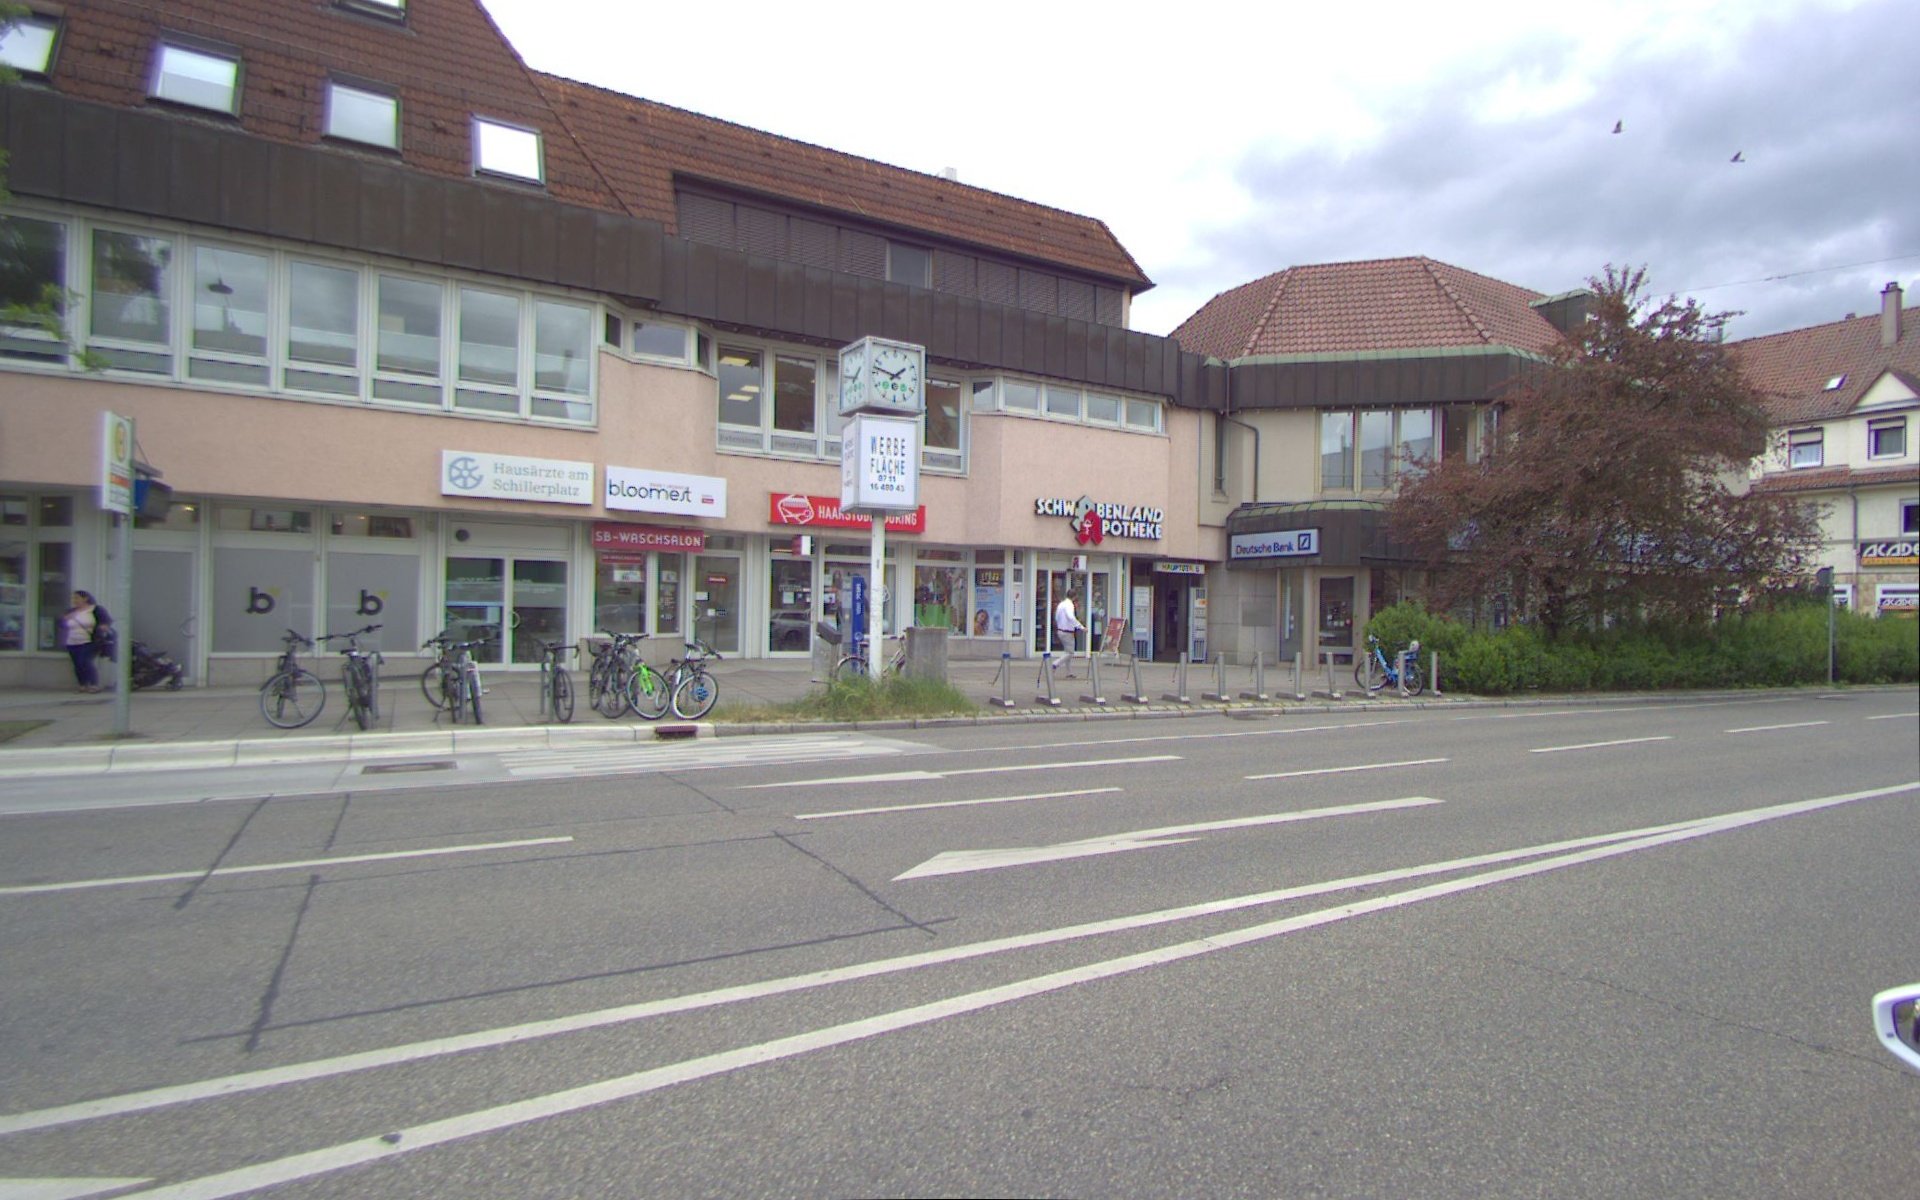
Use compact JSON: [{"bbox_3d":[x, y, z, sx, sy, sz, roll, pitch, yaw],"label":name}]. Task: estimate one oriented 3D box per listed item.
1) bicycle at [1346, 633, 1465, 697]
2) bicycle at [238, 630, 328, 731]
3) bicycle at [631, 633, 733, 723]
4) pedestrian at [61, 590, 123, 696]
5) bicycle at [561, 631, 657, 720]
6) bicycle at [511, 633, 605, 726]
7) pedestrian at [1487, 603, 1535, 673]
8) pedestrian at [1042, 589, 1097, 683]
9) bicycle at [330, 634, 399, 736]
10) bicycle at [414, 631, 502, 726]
[{"bbox_3d":[8.435,1.199,19.108,0.643,1.105,2.002,1,-1,-38],"label":"bicycle"},{"bbox_3d":[-8.560,0.965,12.666,0.644,1.105,1.999,1,0,-42],"label":"bicycle"},{"bbox_3d":[-3.899,1.035,13.961,0.643,1.105,2.002,1,-1,-38],"label":"bicycle"},{"bbox_3d":[-13.209,0.638,15.307,0.581,1.568,0.708,0,1,-30],"label":"pedestrian"},{"bbox_3d":[-4.926,1.004,14.013,0.643,1.105,2.002,1,-1,-38],"label":"bicycle"},{"bbox_3d":[-5.436,1.024,13.512,0.643,1.105,2.002,1,-1,-38],"label":"bicycle"},{"bbox_3d":[14.692,1.013,26.802,0.745,1.788,0.723,1,4,-25],"label":"pedestrian"},{"bbox_3d":[2.153,0.693,19.870,0.747,1.788,0.722,0,3,-31],"label":"pedestrian"},{"bbox_3d":[-7.388,0.994,12.425,0.642,1.105,2.006,1,-1,-33],"label":"bicycle"},{"bbox_3d":[-6.599,0.977,13.155,0.643,1.105,2.002,1,-1,-38],"label":"bicycle"}]
